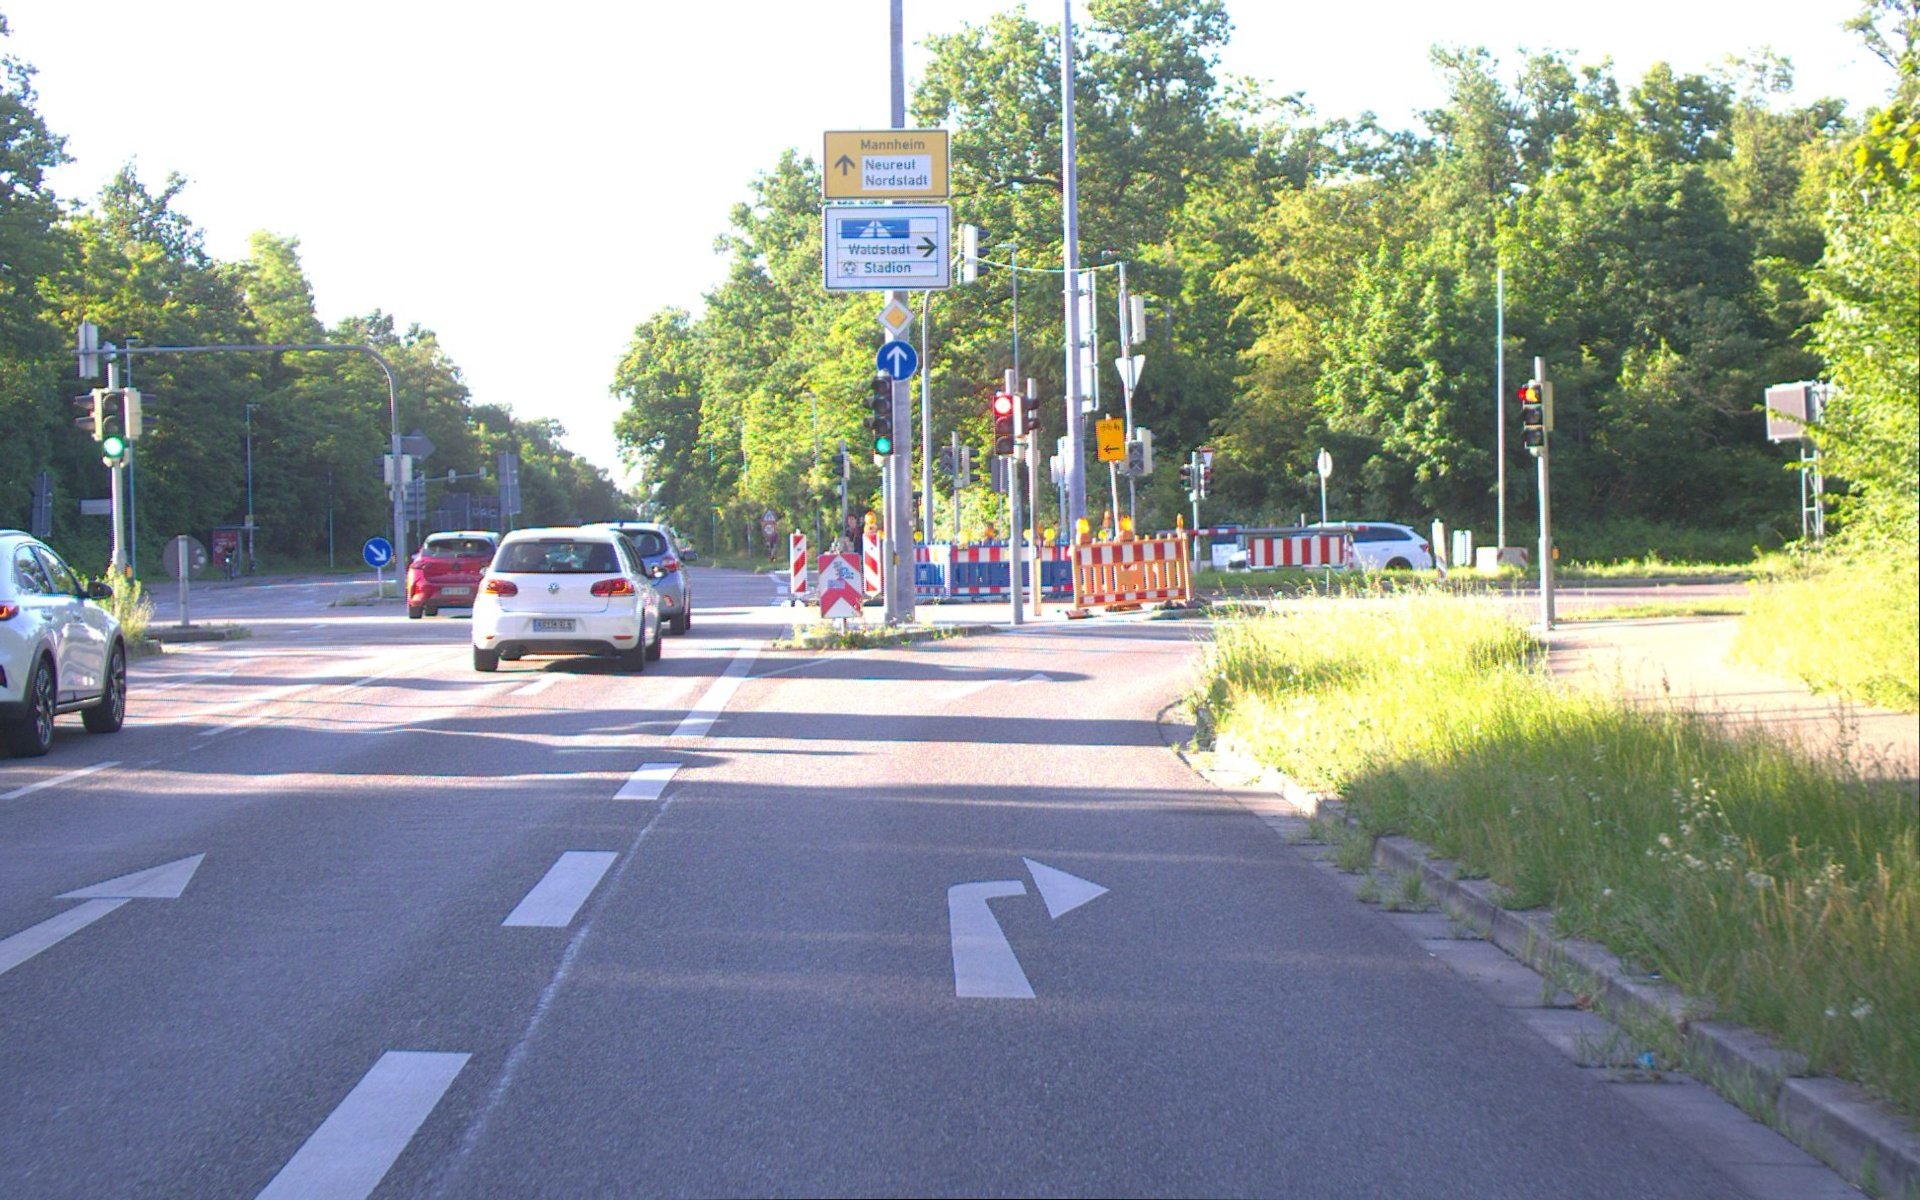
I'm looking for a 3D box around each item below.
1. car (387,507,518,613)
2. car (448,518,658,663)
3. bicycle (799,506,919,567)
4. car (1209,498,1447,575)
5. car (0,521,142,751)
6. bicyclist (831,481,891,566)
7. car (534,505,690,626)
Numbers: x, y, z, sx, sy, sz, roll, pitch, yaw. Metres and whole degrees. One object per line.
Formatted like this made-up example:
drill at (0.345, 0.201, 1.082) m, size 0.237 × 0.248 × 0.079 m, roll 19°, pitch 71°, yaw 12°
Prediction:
car at (-8.541, -0.698, 58.124) m, size 1.993 × 1.679 × 4.001 m, roll -1°, pitch 1°, yaw -6°
car at (-4.270, -0.141, 36.587) m, size 1.940 × 1.409 × 4.001 m, roll -1°, pitch 1°, yaw -3°
bicycle at (-2.299, -1.464, 78.588) m, size 2.632 × 1.378 × 0.968 m, roll -1°, pitch 2°, yaw -34°
car at (8.076, -1.401, 75.414) m, size 4.816 × 1.575 × 2.000 m, roll -2°, pitch 1°, yaw -23°
car at (-6.927, 0.185, 23.488) m, size 1.863 × 1.439 × 4.001 m, roll 0°, pitch 1°, yaw -2°
bicyclist at (-2.264, -1.759, 78.614) m, size 1.013 × 1.923 × 0.968 m, roll -1°, pitch 2°, yaw -34°
car at (-4.744, -0.492, 46.768) m, size 1.993 × 1.531 × 4.001 m, roll -1°, pitch 1°, yaw -6°
